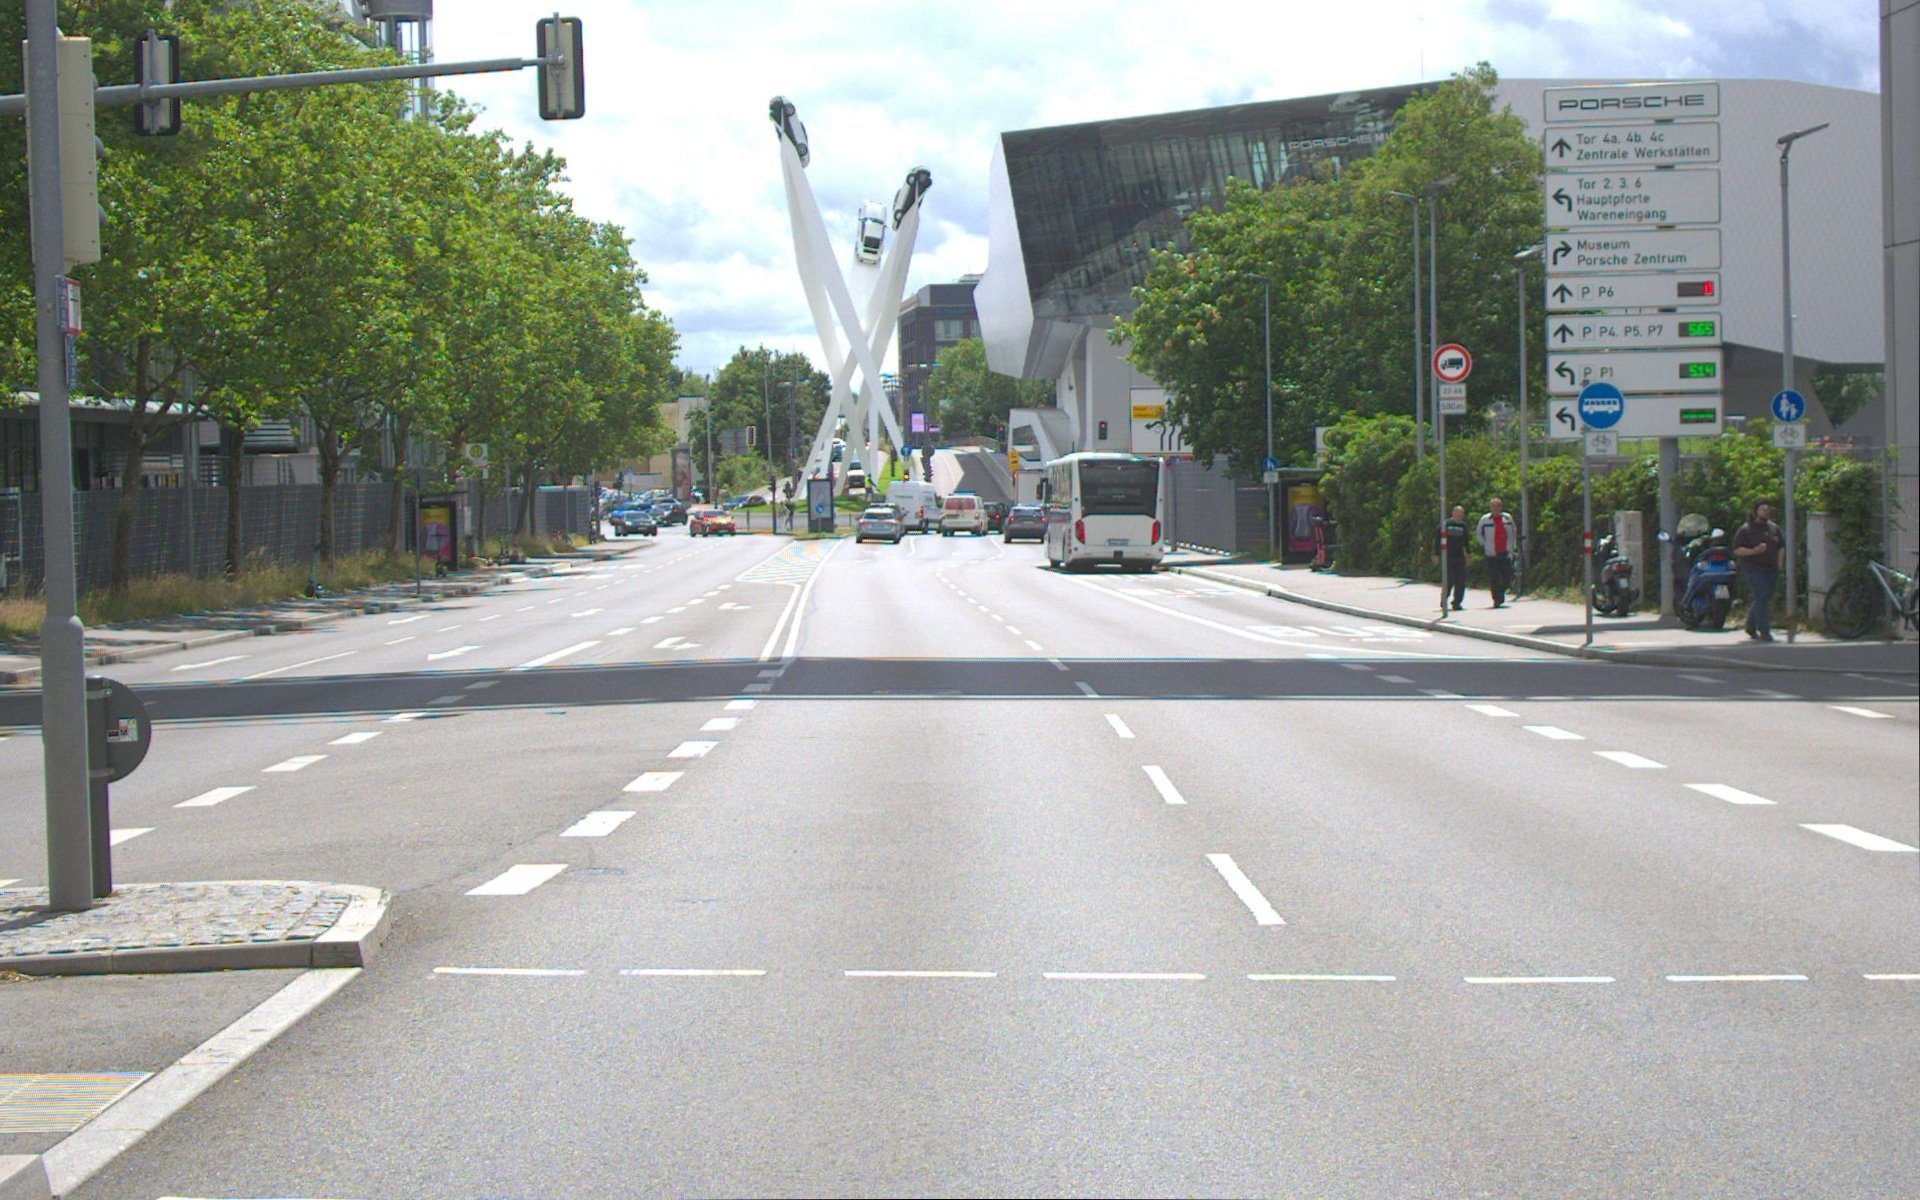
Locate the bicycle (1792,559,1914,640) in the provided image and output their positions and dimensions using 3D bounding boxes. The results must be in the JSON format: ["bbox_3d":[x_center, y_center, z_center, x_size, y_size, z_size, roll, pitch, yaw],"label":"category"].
[{"bbox_3d":[10.625,-0.016,40.964,0.397,0.933,1.929,0,1,-19],"label":"bicycle"}]

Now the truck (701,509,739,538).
[{"bbox_3d":[-12.640,-4.029,181.046,1.583,1.532,3.679,0,1,-11],"label":"truck"}]

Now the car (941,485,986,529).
[{"bbox_3d":[0.171,-4.473,165.640,1.993,2.007,4.000,1,0,2],"label":"car"}]

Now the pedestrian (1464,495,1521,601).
[{"bbox_3d":[8.747,-0.858,56.499,0.820,1.735,0.637,0,1,0],"label":"pedestrian"}]

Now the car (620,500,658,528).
[{"bbox_3d":[-18.439,-4.918,197.550,1.818,1.532,3.679,-2,1,-1],"label":"car"}]

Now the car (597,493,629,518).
[{"bbox_3d":[-22.786,-6.217,226.038,1.818,1.532,3.679,-2,1,-2],"label":"car"}]

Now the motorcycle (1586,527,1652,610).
[{"bbox_3d":[10.102,-0.491,52.741,0.574,1.199,2.024,-2,2,-1],"label":"motorcycle"}]

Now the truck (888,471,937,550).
[{"bbox_3d":[-2.360,-4.452,172.092,2.392,3.884,6.177,0,1,-1],"label":"truck"}]

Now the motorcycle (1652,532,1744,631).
[{"bbox_3d":[9.619,-0.256,44.883,0.706,1.199,2.024,-2,2,-1],"label":"motorcycle"}]

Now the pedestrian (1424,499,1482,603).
[{"bbox_3d":[8.099,-0.803,56.517,0.820,1.701,0.881,0,1,-1],"label":"pedestrian"}]

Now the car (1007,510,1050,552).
[{"bbox_3d":[2.895,-2.931,146.345,1.738,1.735,3.691,0,1,-1],"label":"car"}]

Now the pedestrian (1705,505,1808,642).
[{"bbox_3d":[9.533,-0.325,41.142,0.849,1.619,0.954,1,1,41],"label":"pedestrian"}]

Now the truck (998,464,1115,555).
[{"bbox_3d":[4.899,-4.482,171.597,3.455,4.376,9.412,0,1,17],"label":"truck"}]

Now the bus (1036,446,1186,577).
[{"bbox_3d":[4.208,-2.506,98.374,3.452,3.531,10.607,0,1,-2],"label":"bus"}]

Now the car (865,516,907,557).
[{"bbox_3d":[-3.119,-2.691,145.243,1.738,1.735,3.691,0,1,-1],"label":"car"}]
